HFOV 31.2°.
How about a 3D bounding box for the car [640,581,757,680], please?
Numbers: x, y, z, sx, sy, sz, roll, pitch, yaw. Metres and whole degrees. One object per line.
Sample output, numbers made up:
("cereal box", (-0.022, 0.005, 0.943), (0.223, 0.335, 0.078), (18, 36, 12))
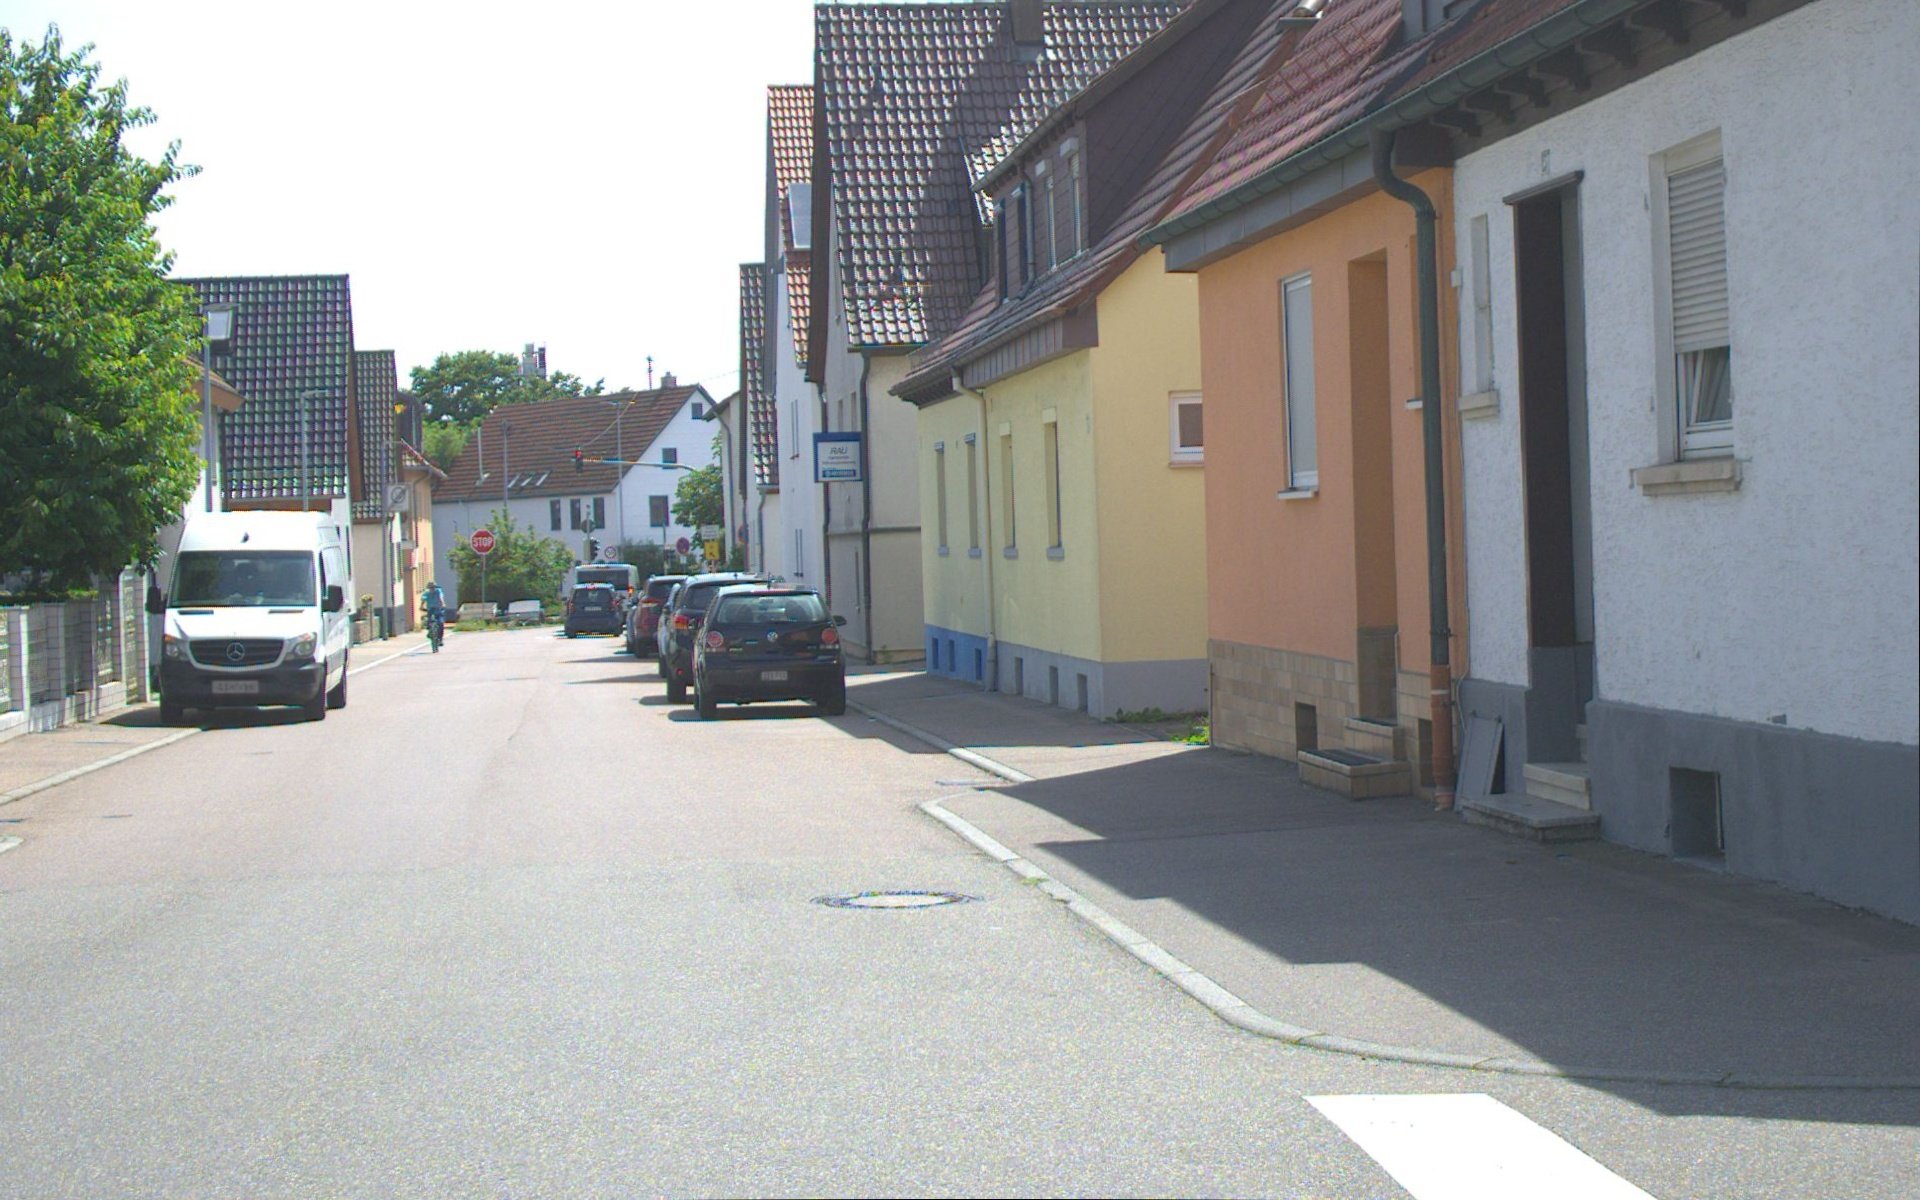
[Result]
("car", (-4.317, 0.475, 56.417), (1.673, 1.553, 3.041), (-1, 0, -8))

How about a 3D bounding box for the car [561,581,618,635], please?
("car", (-11.532, 0.233, 107.054), (1.515, 1.619, 3.184), (-2, 0, -3))

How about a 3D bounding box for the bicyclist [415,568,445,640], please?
("bicyclist", (-13.385, 0.108, 86.829), (0.713, 1.792, 0.942), (-1, 0, -8))

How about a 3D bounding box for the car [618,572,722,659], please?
("car", (-6.049, 0.304, 71.336), (1.875, 1.694, 4.184), (-1, 0, -8))

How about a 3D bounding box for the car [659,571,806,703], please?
("car", (-2.993, 0.443, 44.548), (1.728, 1.594, 4.254), (-1, 0, -6))

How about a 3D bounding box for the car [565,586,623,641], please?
("car", (-10.871, 0.394, 102.264), (1.515, 1.562, 3.184), (-1, 0, -3))

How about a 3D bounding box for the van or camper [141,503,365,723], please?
("van or camper", (-8.912, 0.135, 43.892), (2.184, 2.563, 6.808), (-1, 0, -7))

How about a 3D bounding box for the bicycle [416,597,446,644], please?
("bicycle", (-13.369, 0.511, 86.878), (0.670, 1.128, 2.190), (-1, 0, -7))

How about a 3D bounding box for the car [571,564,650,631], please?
("car", (-11.803, -0.114, 116.302), (2.129, 2.151, 4.736), (-2, 0, 0))

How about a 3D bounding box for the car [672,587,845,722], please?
("car", (-2.332, 0.575, 39.028), (1.610, 1.426, 3.755), (-1, 0, -8))

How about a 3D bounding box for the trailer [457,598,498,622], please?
("trailer", (-18.424, 0.391, 131.354), (1.501, 0.924, 1.012), (0, 0, -5))
